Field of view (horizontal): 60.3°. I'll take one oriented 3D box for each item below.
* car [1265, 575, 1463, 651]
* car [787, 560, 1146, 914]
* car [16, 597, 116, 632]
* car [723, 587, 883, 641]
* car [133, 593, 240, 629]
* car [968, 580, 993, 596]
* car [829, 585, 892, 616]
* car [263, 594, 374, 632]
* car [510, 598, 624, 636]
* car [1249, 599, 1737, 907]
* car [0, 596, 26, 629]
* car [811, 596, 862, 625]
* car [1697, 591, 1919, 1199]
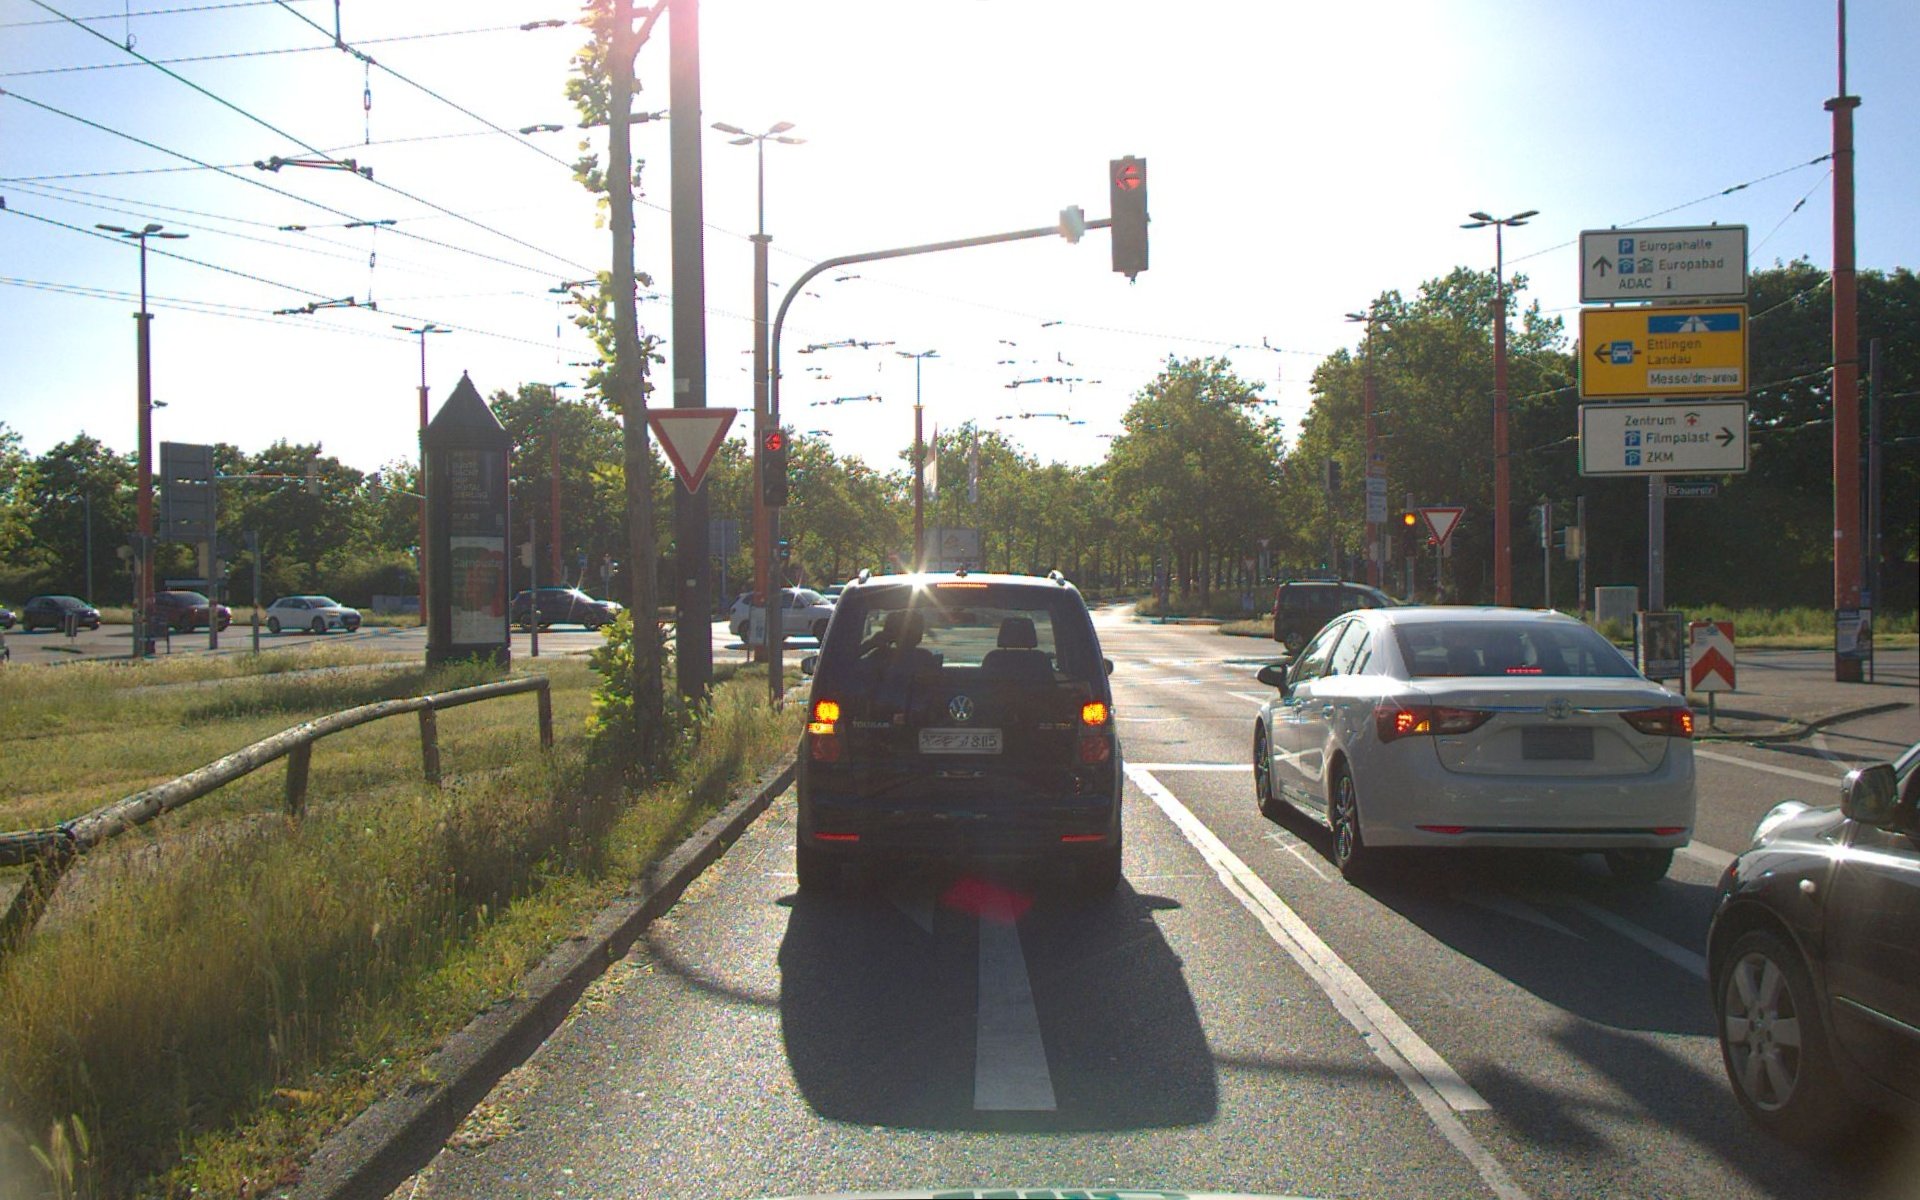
[{"bbox_3d":[10.476,0.325,42.909,4.687,1.868,1.912,0,0,27],"label":"car"},{"bbox_3d":[0.005,0.644,9.853,1.702,1.670,3.999,0,0,-1],"label":"car"},{"bbox_3d":[-39.343,0.613,72.790,3.963,1.489,1.913,0,0,26],"label":"car"},{"bbox_3d":[-4.883,0.421,51.330,4.687,1.626,1.912,0,0,27],"label":"car"},{"bbox_3d":[-32.613,0.447,69.719,4.275,1.489,1.912,0,0,27],"label":"car"},{"bbox_3d":[2.237,-1.308,178.084,1.951,1.714,4.833,0,0,11],"label":"car"},{"bbox_3d":[-5.484,0.024,91.678,1.951,1.714,4.831,0,0,17],"label":"car"},{"bbox_3d":[-25.631,0.507,66.101,4.127,1.489,1.912,0,0,27],"label":"car"},{"bbox_3d":[-15.652,0.658,65.977,4.125,1.489,1.913,0,0,-3],"label":"car"},{"bbox_3d":[2.946,0.740,10.097,1.679,1.480,4.144,0,0,0],"label":"car"},{"bbox_3d":[-45.050,0.582,75.761,4.143,1.489,1.913,0,0,26],"label":"car"},{"bbox_3d":[-7.558,0.640,101.506,1.951,1.714,4.833,0,0,11],"label":"car"},{"bbox_3d":[3.125,0.743,3.498,1.525,1.532,3.515,0,0,-1],"label":"car"}]
